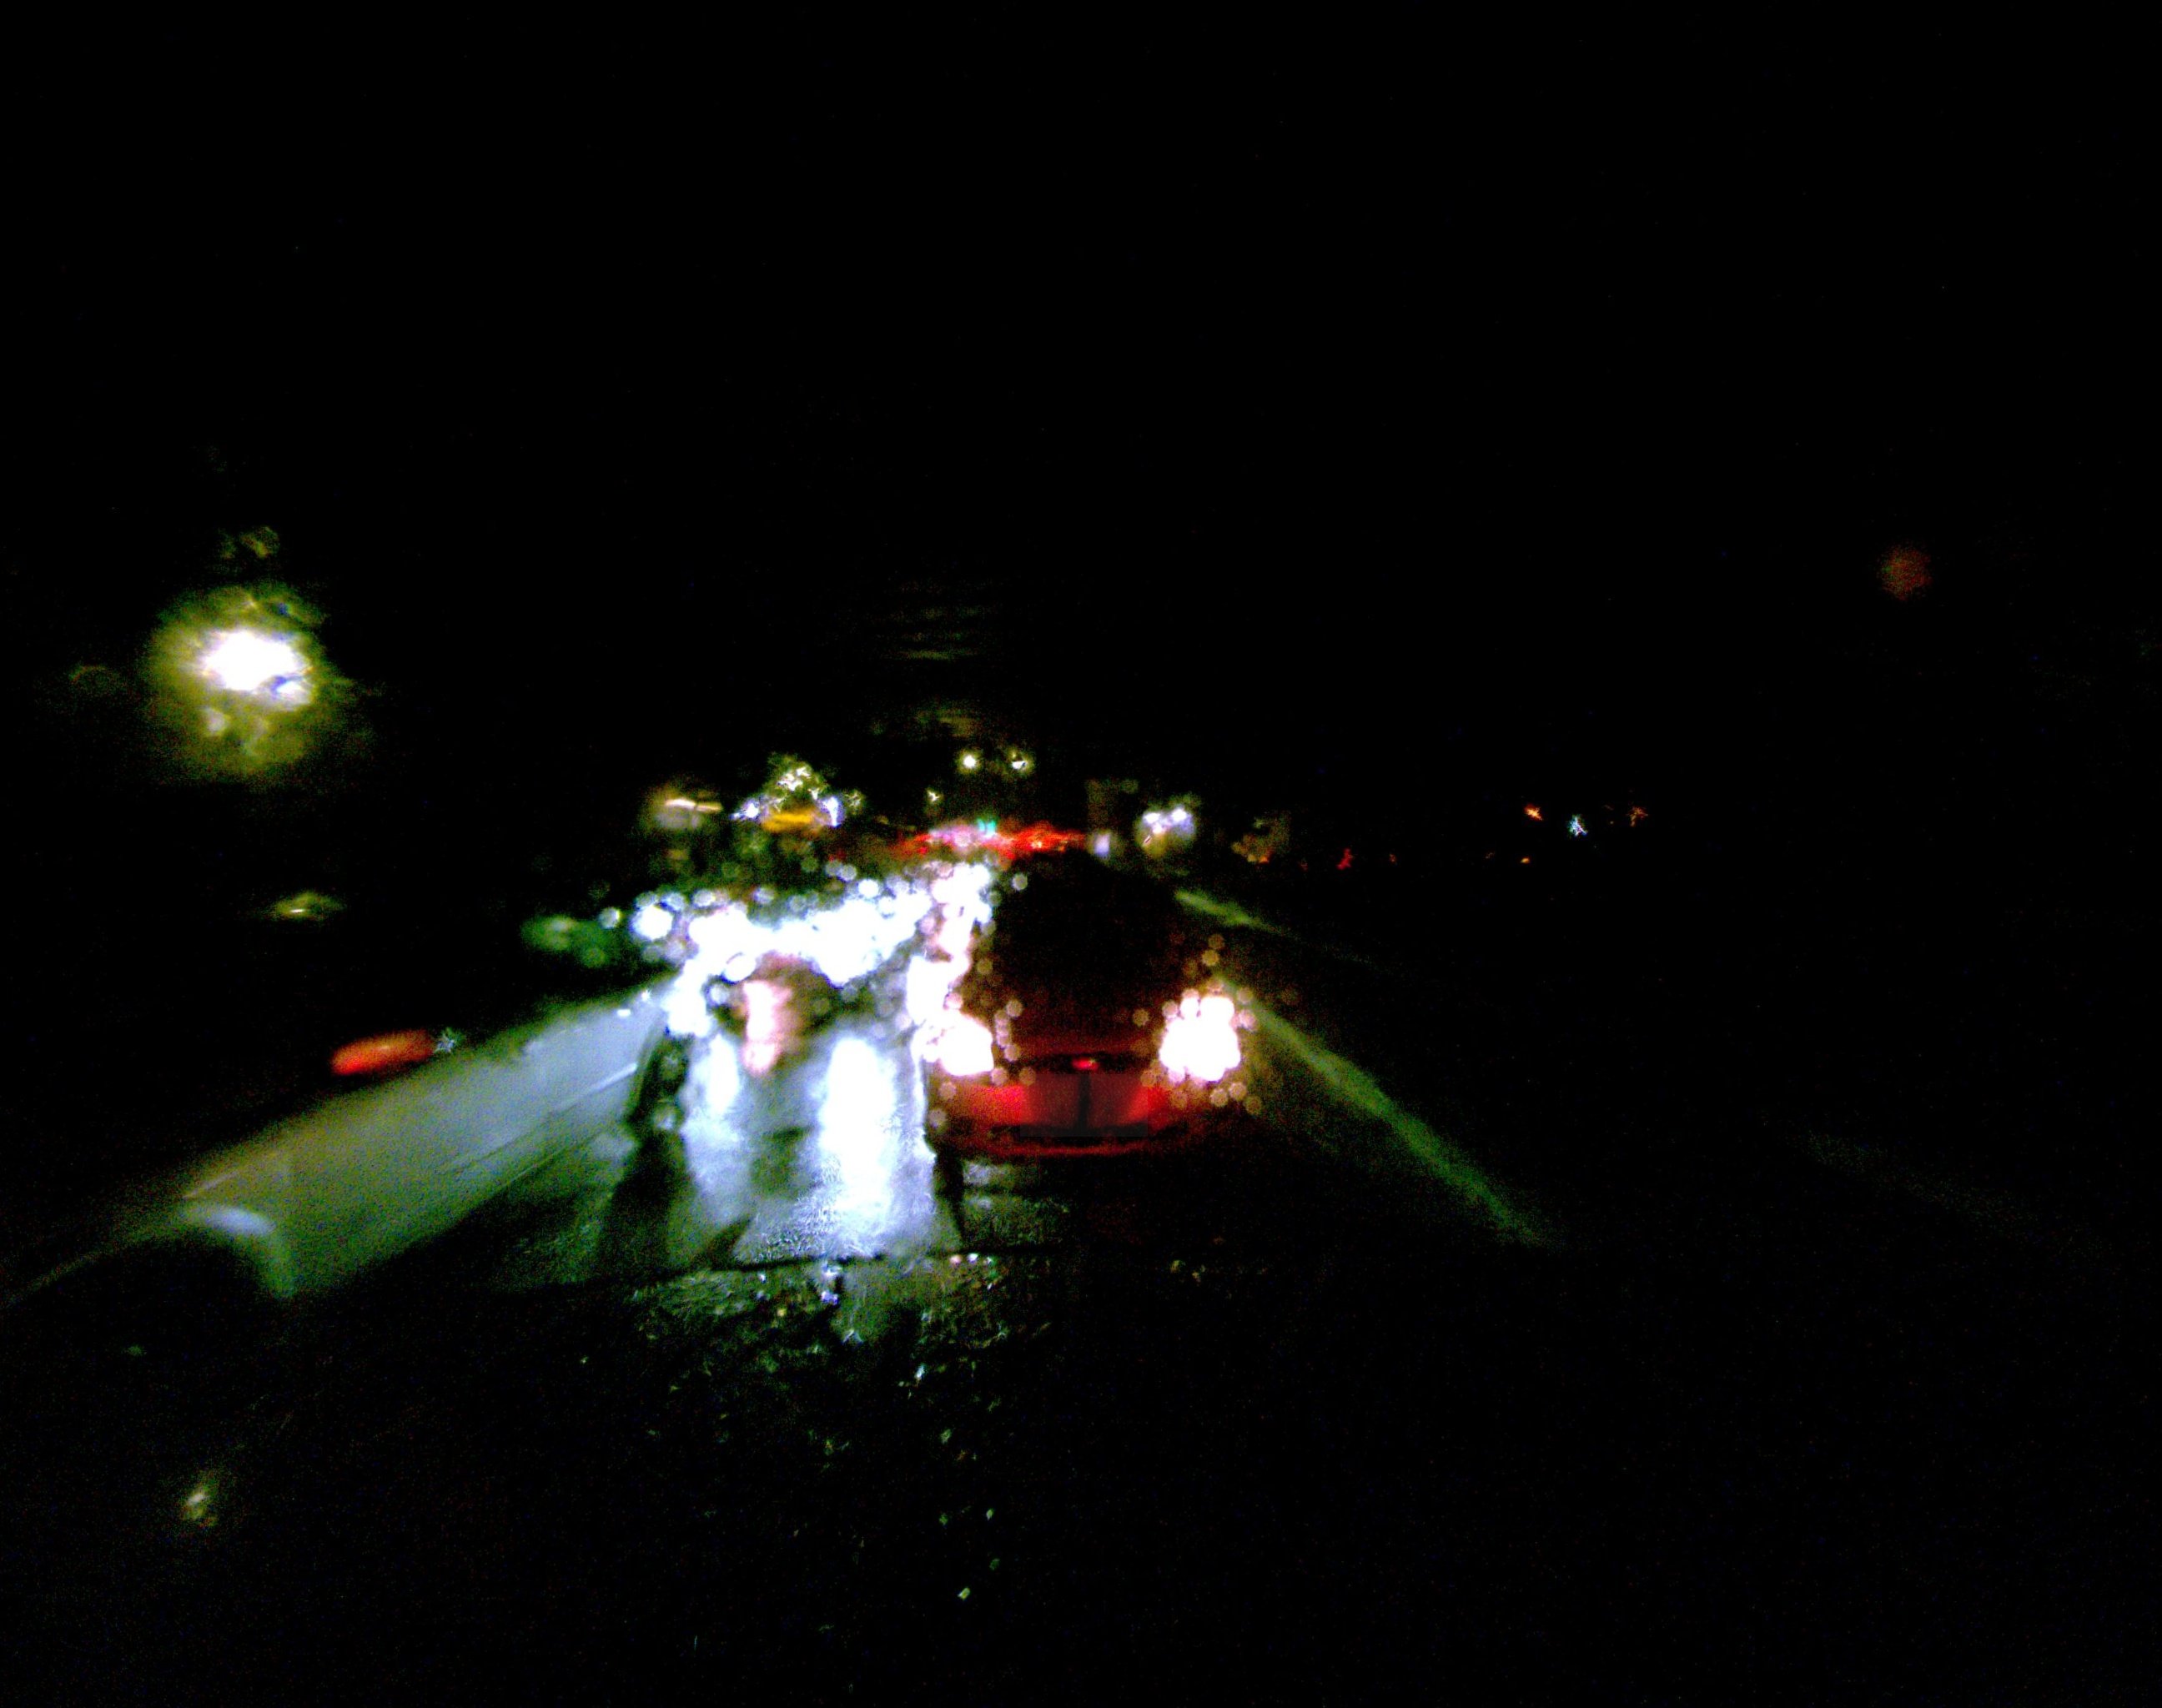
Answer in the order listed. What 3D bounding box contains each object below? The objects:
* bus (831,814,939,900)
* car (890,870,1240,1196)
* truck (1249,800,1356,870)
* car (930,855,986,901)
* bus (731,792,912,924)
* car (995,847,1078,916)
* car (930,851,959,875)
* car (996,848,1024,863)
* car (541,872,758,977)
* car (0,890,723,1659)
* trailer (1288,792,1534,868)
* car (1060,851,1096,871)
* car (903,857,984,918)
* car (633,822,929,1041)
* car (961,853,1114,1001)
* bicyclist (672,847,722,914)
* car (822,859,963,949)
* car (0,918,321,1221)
[{"bbox_3d":[-8.133,0.122,32.904,2.777,3.105,9.758,-2,0,-5],"label":"bus"},{"bbox_3d":[-0.049,0.894,5.562,1.603,1.360,3.942,-2,1,1],"label":"car"},{"bbox_3d":[14.436,-1.219,50.001,6.365,4.152,3.973,-2,1,14],"label":"truck"},{"bbox_3d":[-4.504,0.827,28.274,1.683,1.463,3.998,-2,1,-5],"label":"car"},{"bbox_3d":[-7.340,0.104,23.209,2.777,3.105,9.758,-2,0,-5],"label":"bus"},{"bbox_3d":[-1.114,0.628,19.757,1.881,1.534,3.999,-2,1,-2],"label":"car"},{"bbox_3d":[-9.922,0.599,55.049,1.744,1.581,3.995,-2,1,-14],"label":"car"},{"bbox_3d":[-8.485,0.192,90.241,1.826,1.595,4.134,-3,1,-28],"label":"car"},{"bbox_3d":[-7.104,1.073,13.012,1.755,1.422,3.758,-1,0,-4],"label":"car"},{"bbox_3d":[-3.164,0.993,2.714,1.792,1.359,3.999,-2,2,0],"label":"car"},{"bbox_3d":[20.791,-1.457,48.993,13.900,4.152,3.971,-2,1,9],"label":"trailer"},{"bbox_3d":[-0.300,0.613,68.100,2.001,1.596,3.993,-3,1,-18],"label":"car"},{"bbox_3d":[-3.923,0.905,22.252,1.629,1.494,3.999,-2,1,-1],"label":"car"},{"bbox_3d":[-3.371,0.734,9.632,1.999,2.076,4.347,-2,1,-1],"label":"car"},{"bbox_3d":[-0.469,0.835,10.672,1.683,1.591,3.996,-2,1,1],"label":"car"},{"bbox_3d":[-10.453,0.695,20.714,0.798,1.752,0.901,-2,1,1],"label":"bicyclist"},{"bbox_3d":[-3.744,0.928,15.794,1.869,1.503,3.766,-2,1,1],"label":"car"},{"bbox_3d":[-6.261,1.174,3.188,1.757,1.382,4.564,-2,0,-5],"label":"car"}]
